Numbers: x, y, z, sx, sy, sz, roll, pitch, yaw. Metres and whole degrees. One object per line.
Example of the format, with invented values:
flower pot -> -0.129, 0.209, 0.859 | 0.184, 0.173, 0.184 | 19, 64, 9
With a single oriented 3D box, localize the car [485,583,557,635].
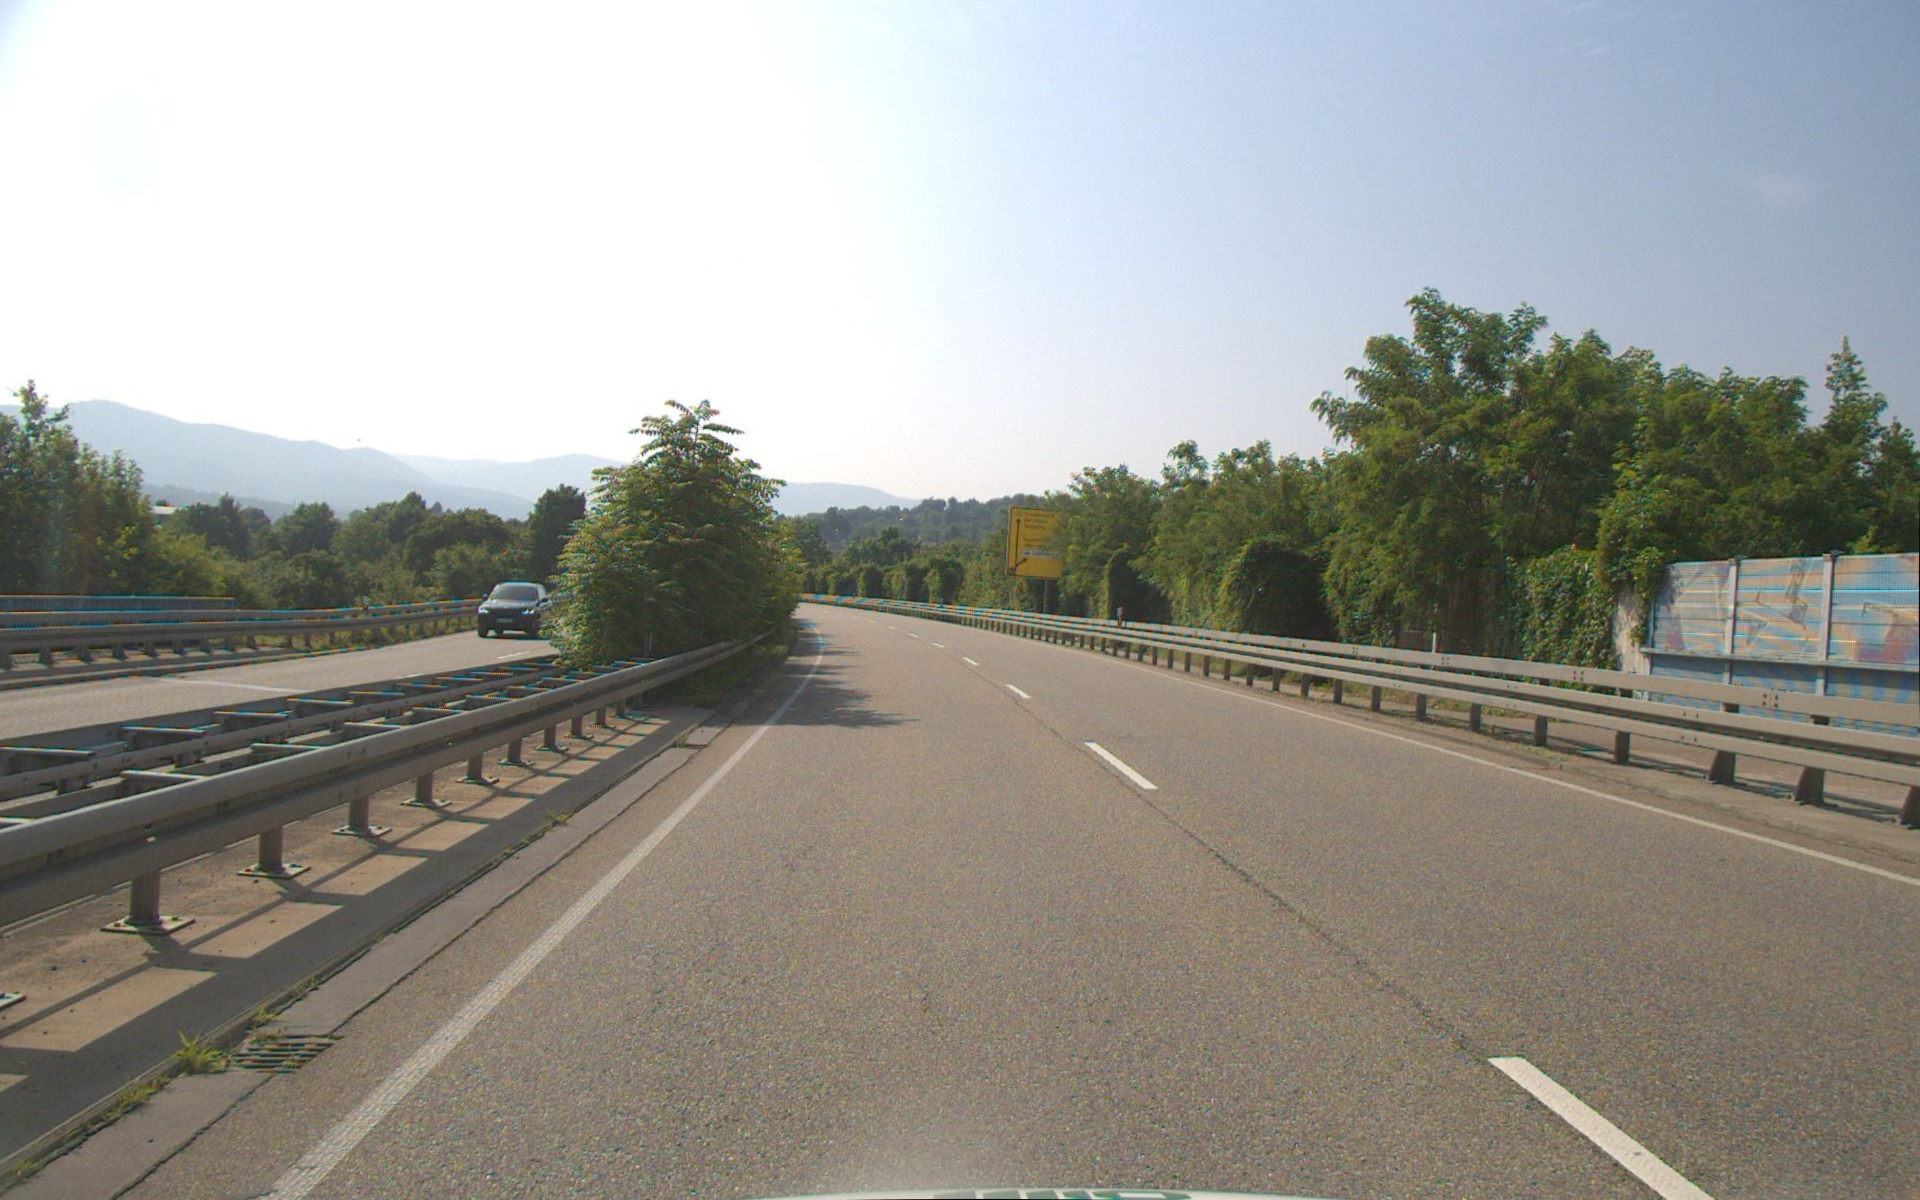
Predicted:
car -> -14.026, 0.271, 52.988 | 1.635, 1.592, 3.486 | 1, 0, -5
